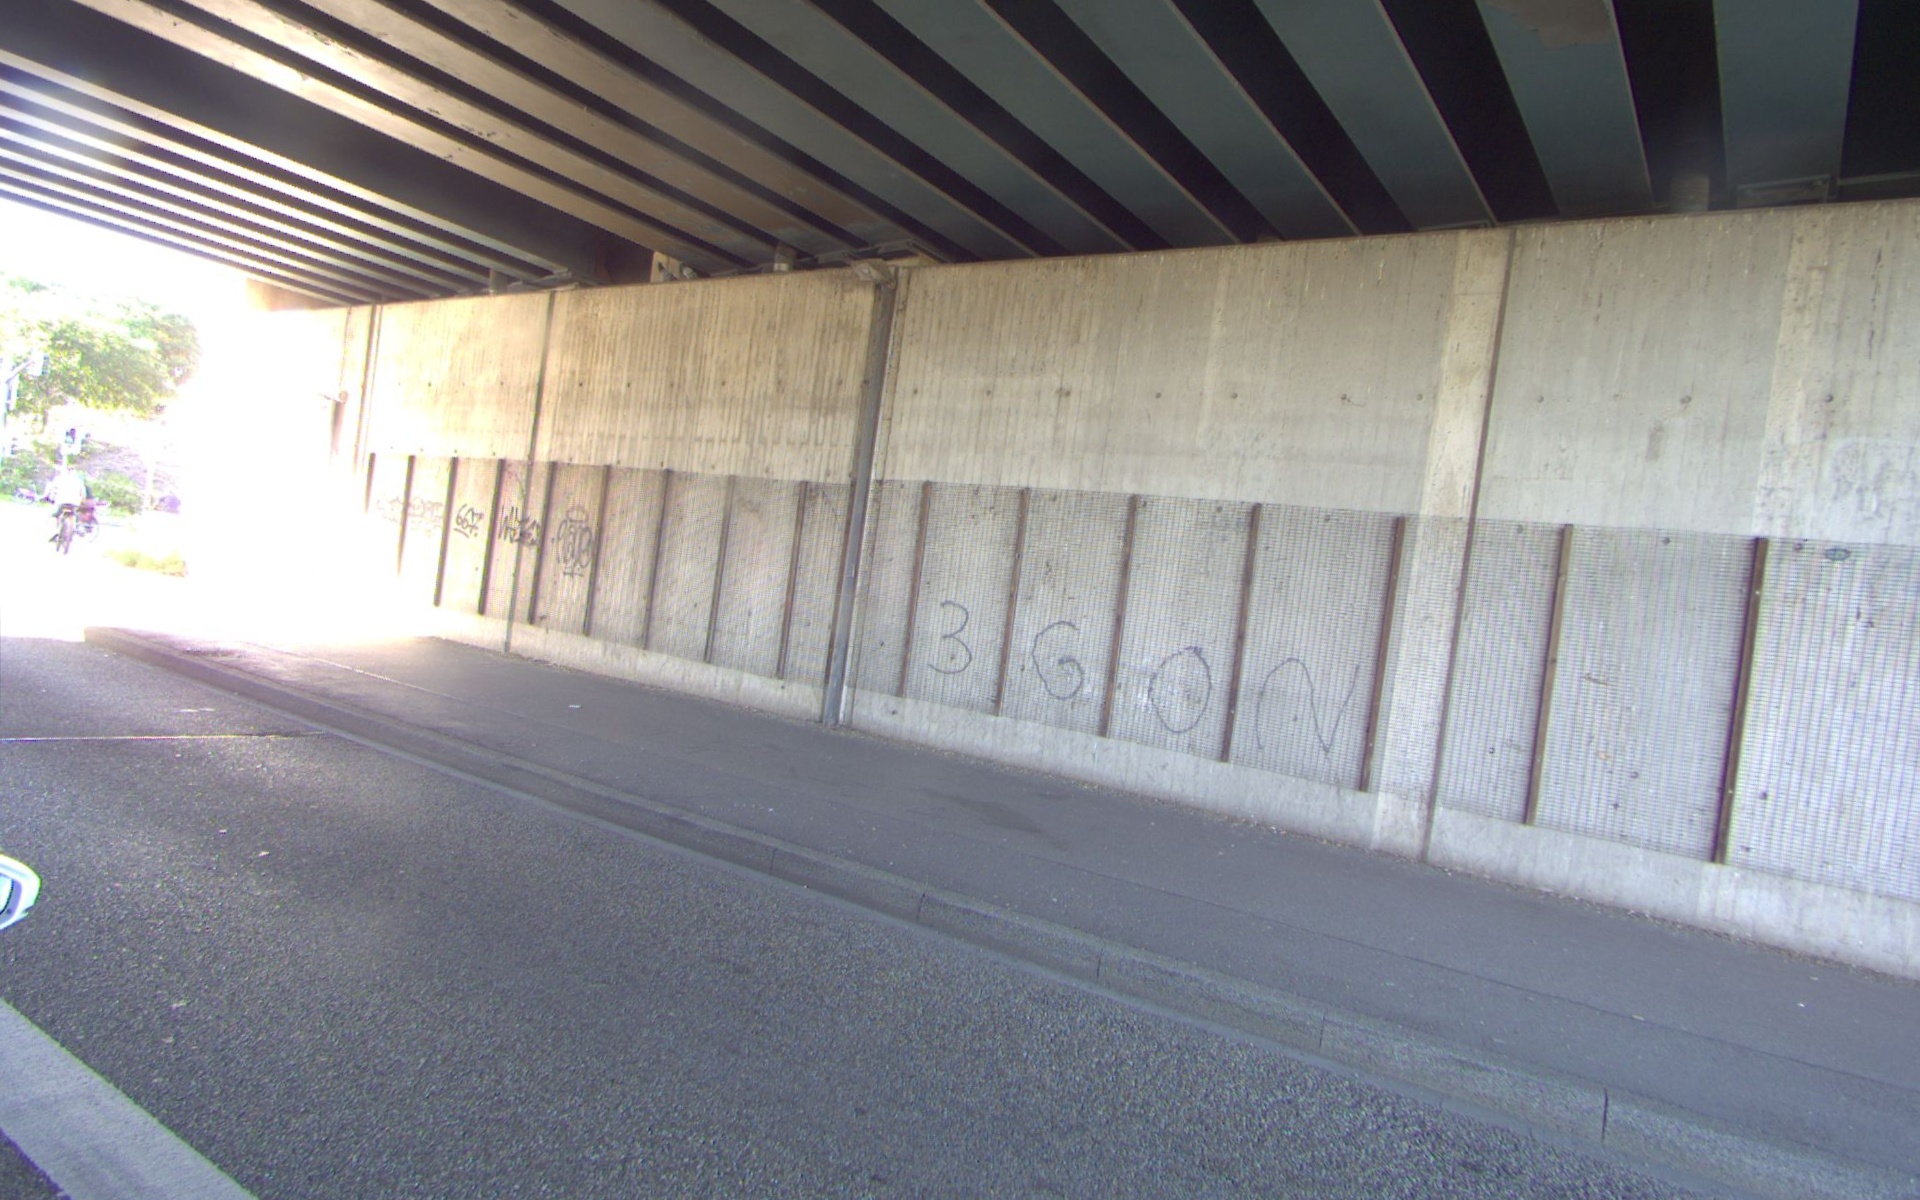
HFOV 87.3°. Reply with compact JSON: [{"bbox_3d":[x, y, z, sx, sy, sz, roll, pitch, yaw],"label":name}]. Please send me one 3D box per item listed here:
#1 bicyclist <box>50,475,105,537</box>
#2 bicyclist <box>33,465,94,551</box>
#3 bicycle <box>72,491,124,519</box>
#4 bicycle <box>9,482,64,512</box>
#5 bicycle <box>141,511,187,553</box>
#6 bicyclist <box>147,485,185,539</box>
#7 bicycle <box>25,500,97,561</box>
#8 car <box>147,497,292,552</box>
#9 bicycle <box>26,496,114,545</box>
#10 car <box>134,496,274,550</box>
[{"bbox_3d":[-23.682,-2.516,27.009,0.737,1.491,0.668,7,-1,15],"label":"bicyclist"},{"bbox_3d":[-17.620,-1.803,19.772,0.757,1.566,0.592,6,-1,35],"label":"bicyclist"},{"bbox_3d":[-41.011,-4.519,47.866,0.586,1.035,1.743,6,-2,43],"label":"bicycle"},{"bbox_3d":[-42.967,-4.793,46.815,0.585,1.035,1.744,6,-2,40],"label":"bicycle"},{"bbox_3d":[-23.922,-2.053,30.215,1.724,1.036,0.667,10,1,40],"label":"bicycle"},{"bbox_3d":[-23.840,-2.636,30.201,0.609,1.499,0.649,8,0,39],"label":"bicyclist"},{"bbox_3d":[-17.708,-1.384,19.806,1.723,1.035,0.592,6,-2,35],"label":"bicycle"},{"bbox_3d":[-31.267,-3.168,42.588,1.801,1.531,4.548,6,-3,39],"label":"car"},{"bbox_3d":[-23.943,-2.127,27.064,2.016,1.035,0.674,7,-1,15],"label":"bicycle"},{"bbox_3d":[-33.255,-3.361,44.367,1.801,1.531,4.548,6,-3,39],"label":"car"}]
